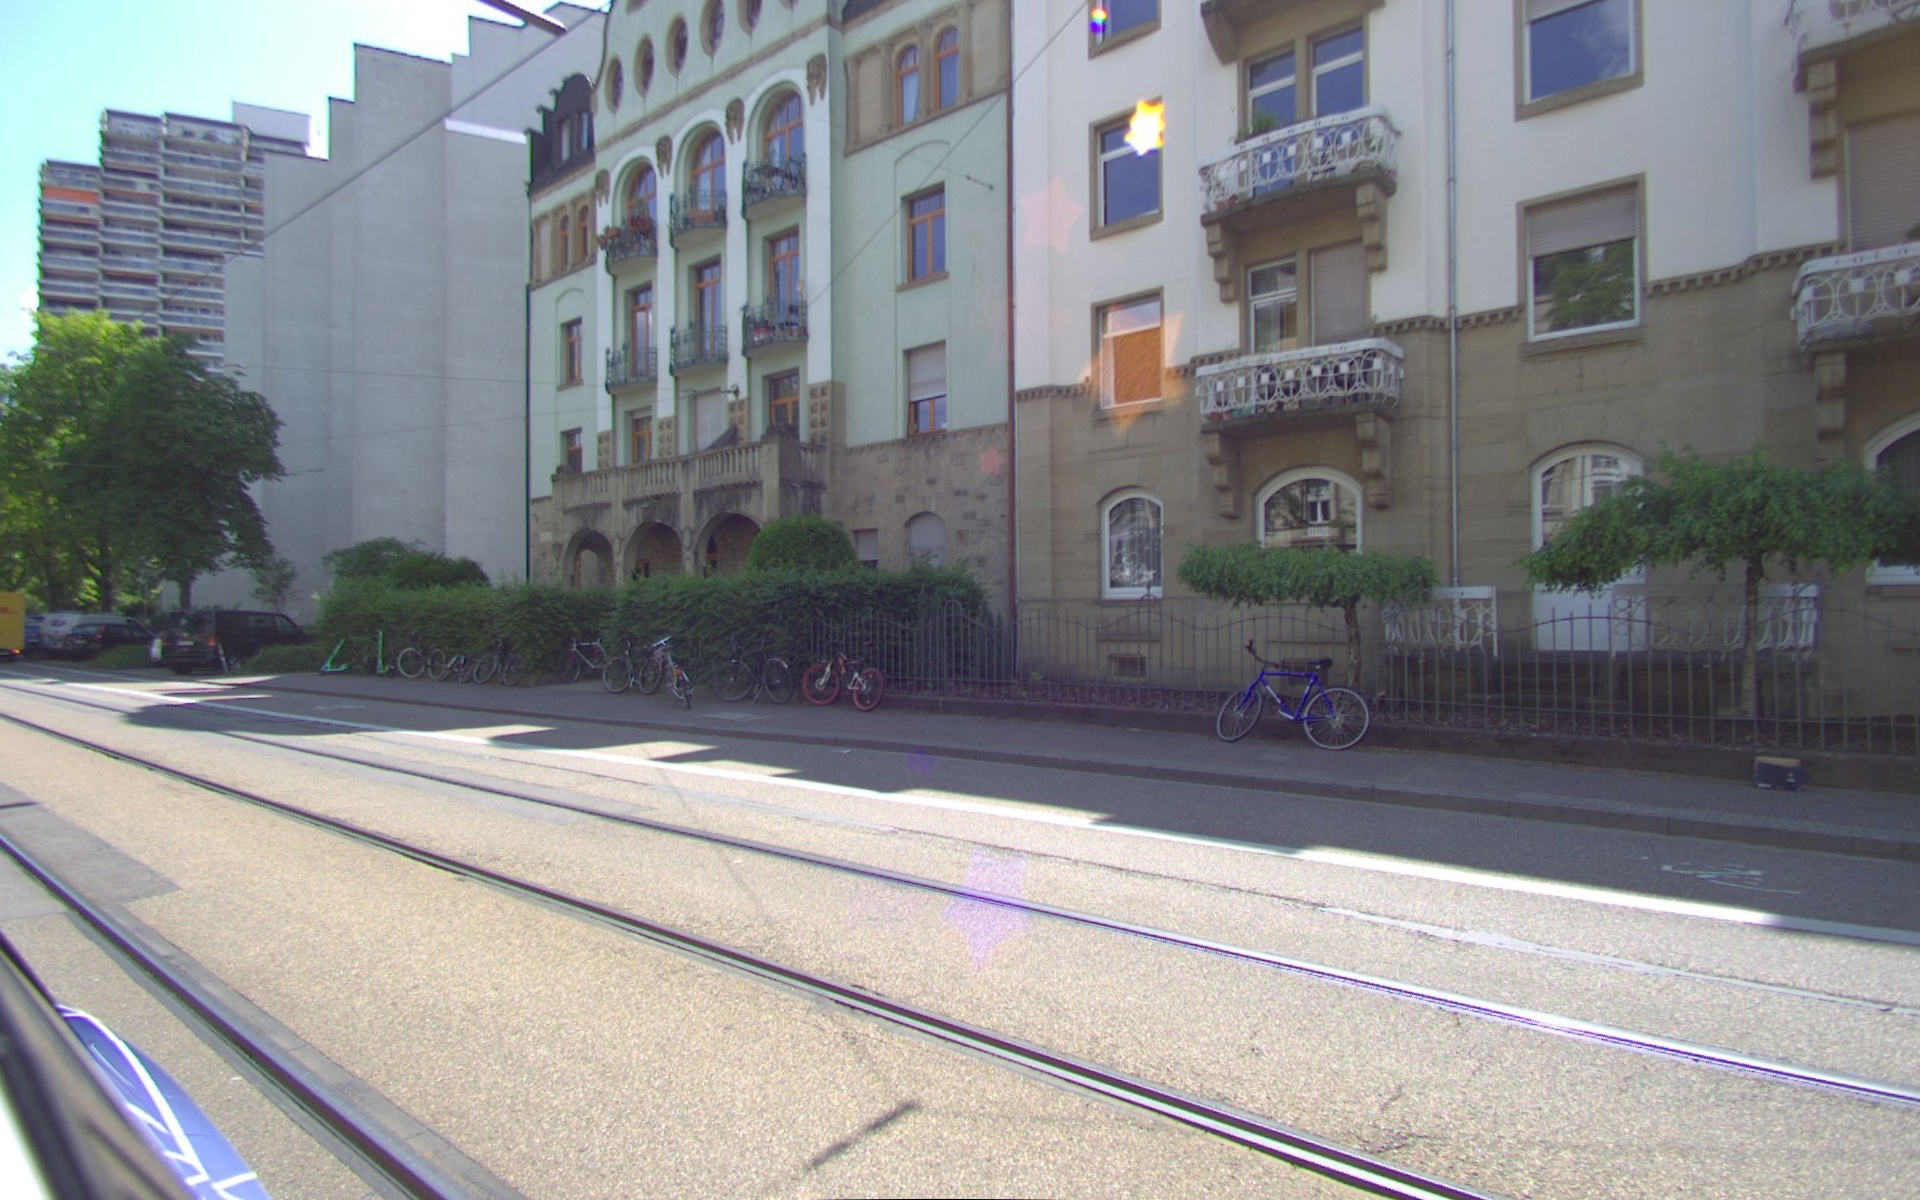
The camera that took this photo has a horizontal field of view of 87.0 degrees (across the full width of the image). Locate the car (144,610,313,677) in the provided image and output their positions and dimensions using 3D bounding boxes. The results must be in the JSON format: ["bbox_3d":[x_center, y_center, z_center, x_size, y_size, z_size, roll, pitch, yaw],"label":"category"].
[{"bbox_3d":[-22.995,1.329,32.076,1.935,1.940,4.584,0,-1,2],"label":"car"}]

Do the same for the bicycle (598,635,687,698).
[{"bbox_3d":[-5.729,1.172,18.198,1.769,1.040,0.602,-2,2,39],"label":"bicycle"}]

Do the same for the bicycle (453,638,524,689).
[{"bbox_3d":[-10.009,1.328,21.482,1.769,0.983,0.602,-2,2,39],"label":"bicycle"}]

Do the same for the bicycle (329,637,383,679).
[{"bbox_3d":[-15.651,1.493,26.229,1.706,0.996,0.602,-2,2,39],"label":"bicycle"}]

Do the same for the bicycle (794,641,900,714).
[{"bbox_3d":[-1.675,1.111,14.835,1.724,0.973,0.409,-1,2,39],"label":"bicycle"}]

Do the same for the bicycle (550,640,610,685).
[{"bbox_3d":[-8.124,1.333,21.645,0.339,0.915,1.192,-2,-2,41],"label":"bicycle"}]

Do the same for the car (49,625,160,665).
[{"bbox_3d":[-35.644,1.833,42.291,1.657,1.587,3.687,0,-1,-4],"label":"car"}]

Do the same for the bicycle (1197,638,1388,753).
[{"bbox_3d":[3.460,0.958,10.608,1.769,1.072,0.602,-2,2,39],"label":"bicycle"}]

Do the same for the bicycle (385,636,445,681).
[{"bbox_3d":[-12.992,1.369,24.097,1.706,0.996,0.602,-2,2,39],"label":"bicycle"}]

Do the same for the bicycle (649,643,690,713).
[{"bbox_3d":[-4.587,1.195,16.021,0.599,1.007,1.779,0,-1,-16],"label":"bicycle"}]

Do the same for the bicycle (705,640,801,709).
[{"bbox_3d":[-3.276,1.148,15.927,1.706,1.006,0.460,-1,2,39],"label":"bicycle"}]

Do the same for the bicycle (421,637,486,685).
[{"bbox_3d":[-11.399,1.361,22.740,1.706,0.996,0.602,-2,2,39],"label":"bicycle"}]

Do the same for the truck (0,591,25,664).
[{"bbox_3d":[-41.047,1.157,42.182,6.511,2.943,2.277,-2,-2,41],"label":"truck"}]

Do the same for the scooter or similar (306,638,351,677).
[{"bbox_3d":[-16.982,1.549,27.214,1.216,1.028,0.404,-1,-2,24],"label":"scooter or similar"}]

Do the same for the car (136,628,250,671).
[{"bbox_3d":[-27.796,1.771,36.814,1.699,1.465,3.633,0,-1,-7],"label":"car"}]

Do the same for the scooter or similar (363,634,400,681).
[{"bbox_3d":[-14.361,1.405,25.100,1.290,1.128,0.401,-2,-1,41],"label":"scooter or similar"}]

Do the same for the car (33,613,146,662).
[{"bbox_3d":[-38.240,1.634,44.602,1.579,2.058,4.054,0,-1,-2],"label":"car"}]
